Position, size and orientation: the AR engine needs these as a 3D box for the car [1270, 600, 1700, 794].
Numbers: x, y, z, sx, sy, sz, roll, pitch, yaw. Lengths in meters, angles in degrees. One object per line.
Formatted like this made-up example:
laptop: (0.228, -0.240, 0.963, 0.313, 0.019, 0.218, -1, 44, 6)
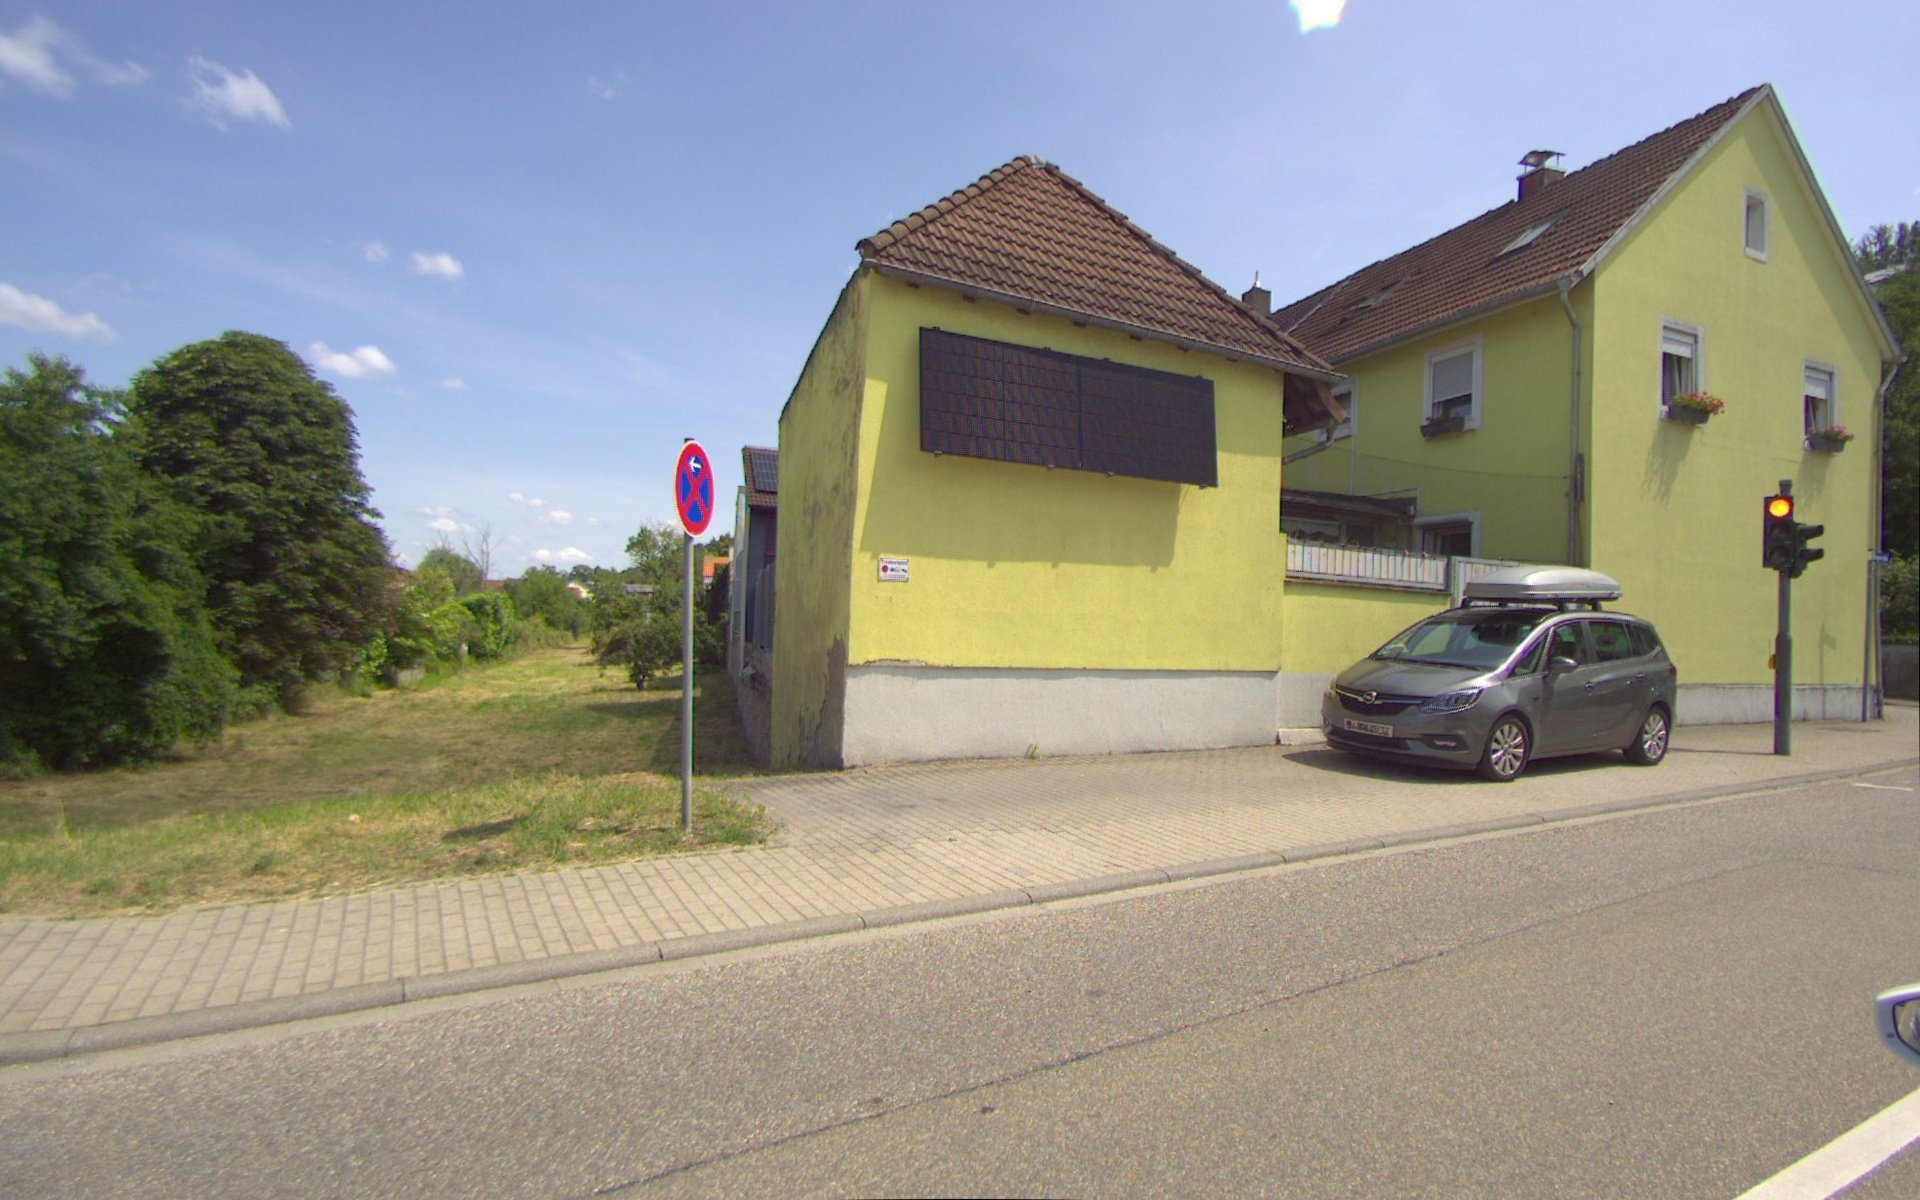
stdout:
car: (5.743, 0.914, 10.856, 4.576, 1.657, 1.984, 2, 0, -31)
